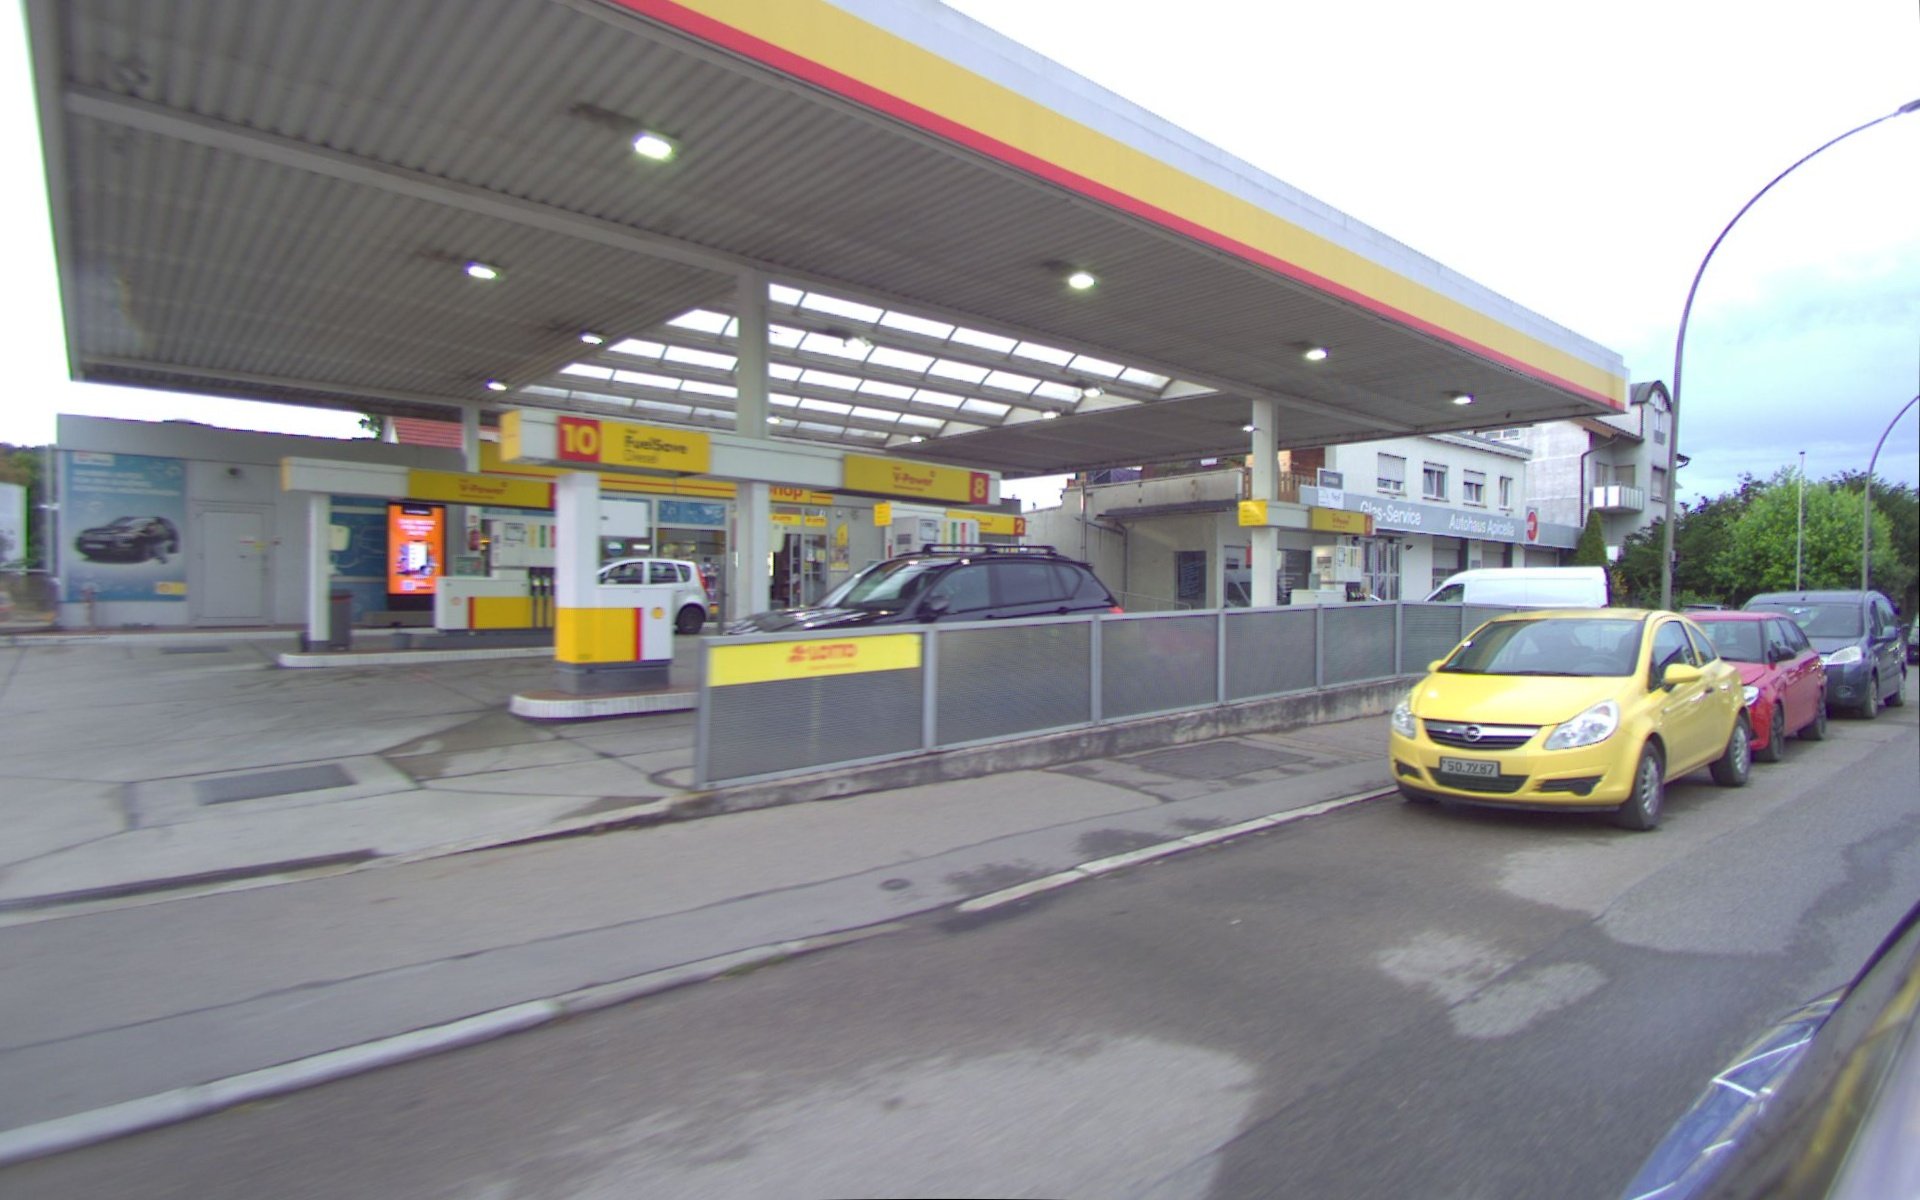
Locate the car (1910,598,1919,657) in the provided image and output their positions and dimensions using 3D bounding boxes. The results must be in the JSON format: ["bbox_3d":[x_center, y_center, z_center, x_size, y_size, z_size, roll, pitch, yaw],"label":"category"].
[{"bbox_3d":[28.399,0.813,28.555,3.931,1.616,1.997,1,1,-42],"label":"car"}]

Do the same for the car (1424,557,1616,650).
[{"bbox_3d":[16.434,0.046,29.969,4.760,2.552,2.225,1,0,28],"label":"car"}]

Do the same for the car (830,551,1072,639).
[{"bbox_3d":[-0.072,-0.087,19.338,4.591,1.484,1.743,1,0,-41],"label":"car"}]

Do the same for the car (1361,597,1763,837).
[{"bbox_3d":[4.860,0.709,7.965,3.735,1.419,1.659,0,0,-41],"label":"car"}]

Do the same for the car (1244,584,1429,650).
[{"bbox_3d":[10.155,0.423,27.547,4.282,1.662,1.998,1,0,3],"label":"car"}]

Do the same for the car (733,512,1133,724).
[{"bbox_3d":[-0.145,0.134,10.510,3.933,1.781,1.821,0,1,-44],"label":"car"}]

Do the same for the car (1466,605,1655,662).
[{"bbox_3d":[15.989,0.868,27.119,3.935,1.392,1.775,1,1,10],"label":"car"}]

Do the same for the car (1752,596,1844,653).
[{"bbox_3d":[27.487,0.763,33.153,1.994,1.704,3.935,1,0,45],"label":"car"}]

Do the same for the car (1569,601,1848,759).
[{"bbox_3d":[8.294,0.730,11.085,3.954,1.394,1.659,0,0,-41],"label":"car"}]

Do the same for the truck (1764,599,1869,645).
[{"bbox_3d":[30.155,0.752,35.693,1.300,1.549,2.565,1,0,-32],"label":"truck"}]

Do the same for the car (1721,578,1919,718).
[{"bbox_3d":[12.765,0.634,14.861,4.367,1.761,1.658,0,-2,-41],"label":"car"}]

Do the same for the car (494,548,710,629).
[{"bbox_3d":[-7.120,-0.209,20.292,3.714,1.484,1.743,1,0,-41],"label":"car"}]

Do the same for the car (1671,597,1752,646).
[{"bbox_3d":[27.005,0.742,36.327,3.671,1.538,1.749,1,3,-45],"label":"car"}]
